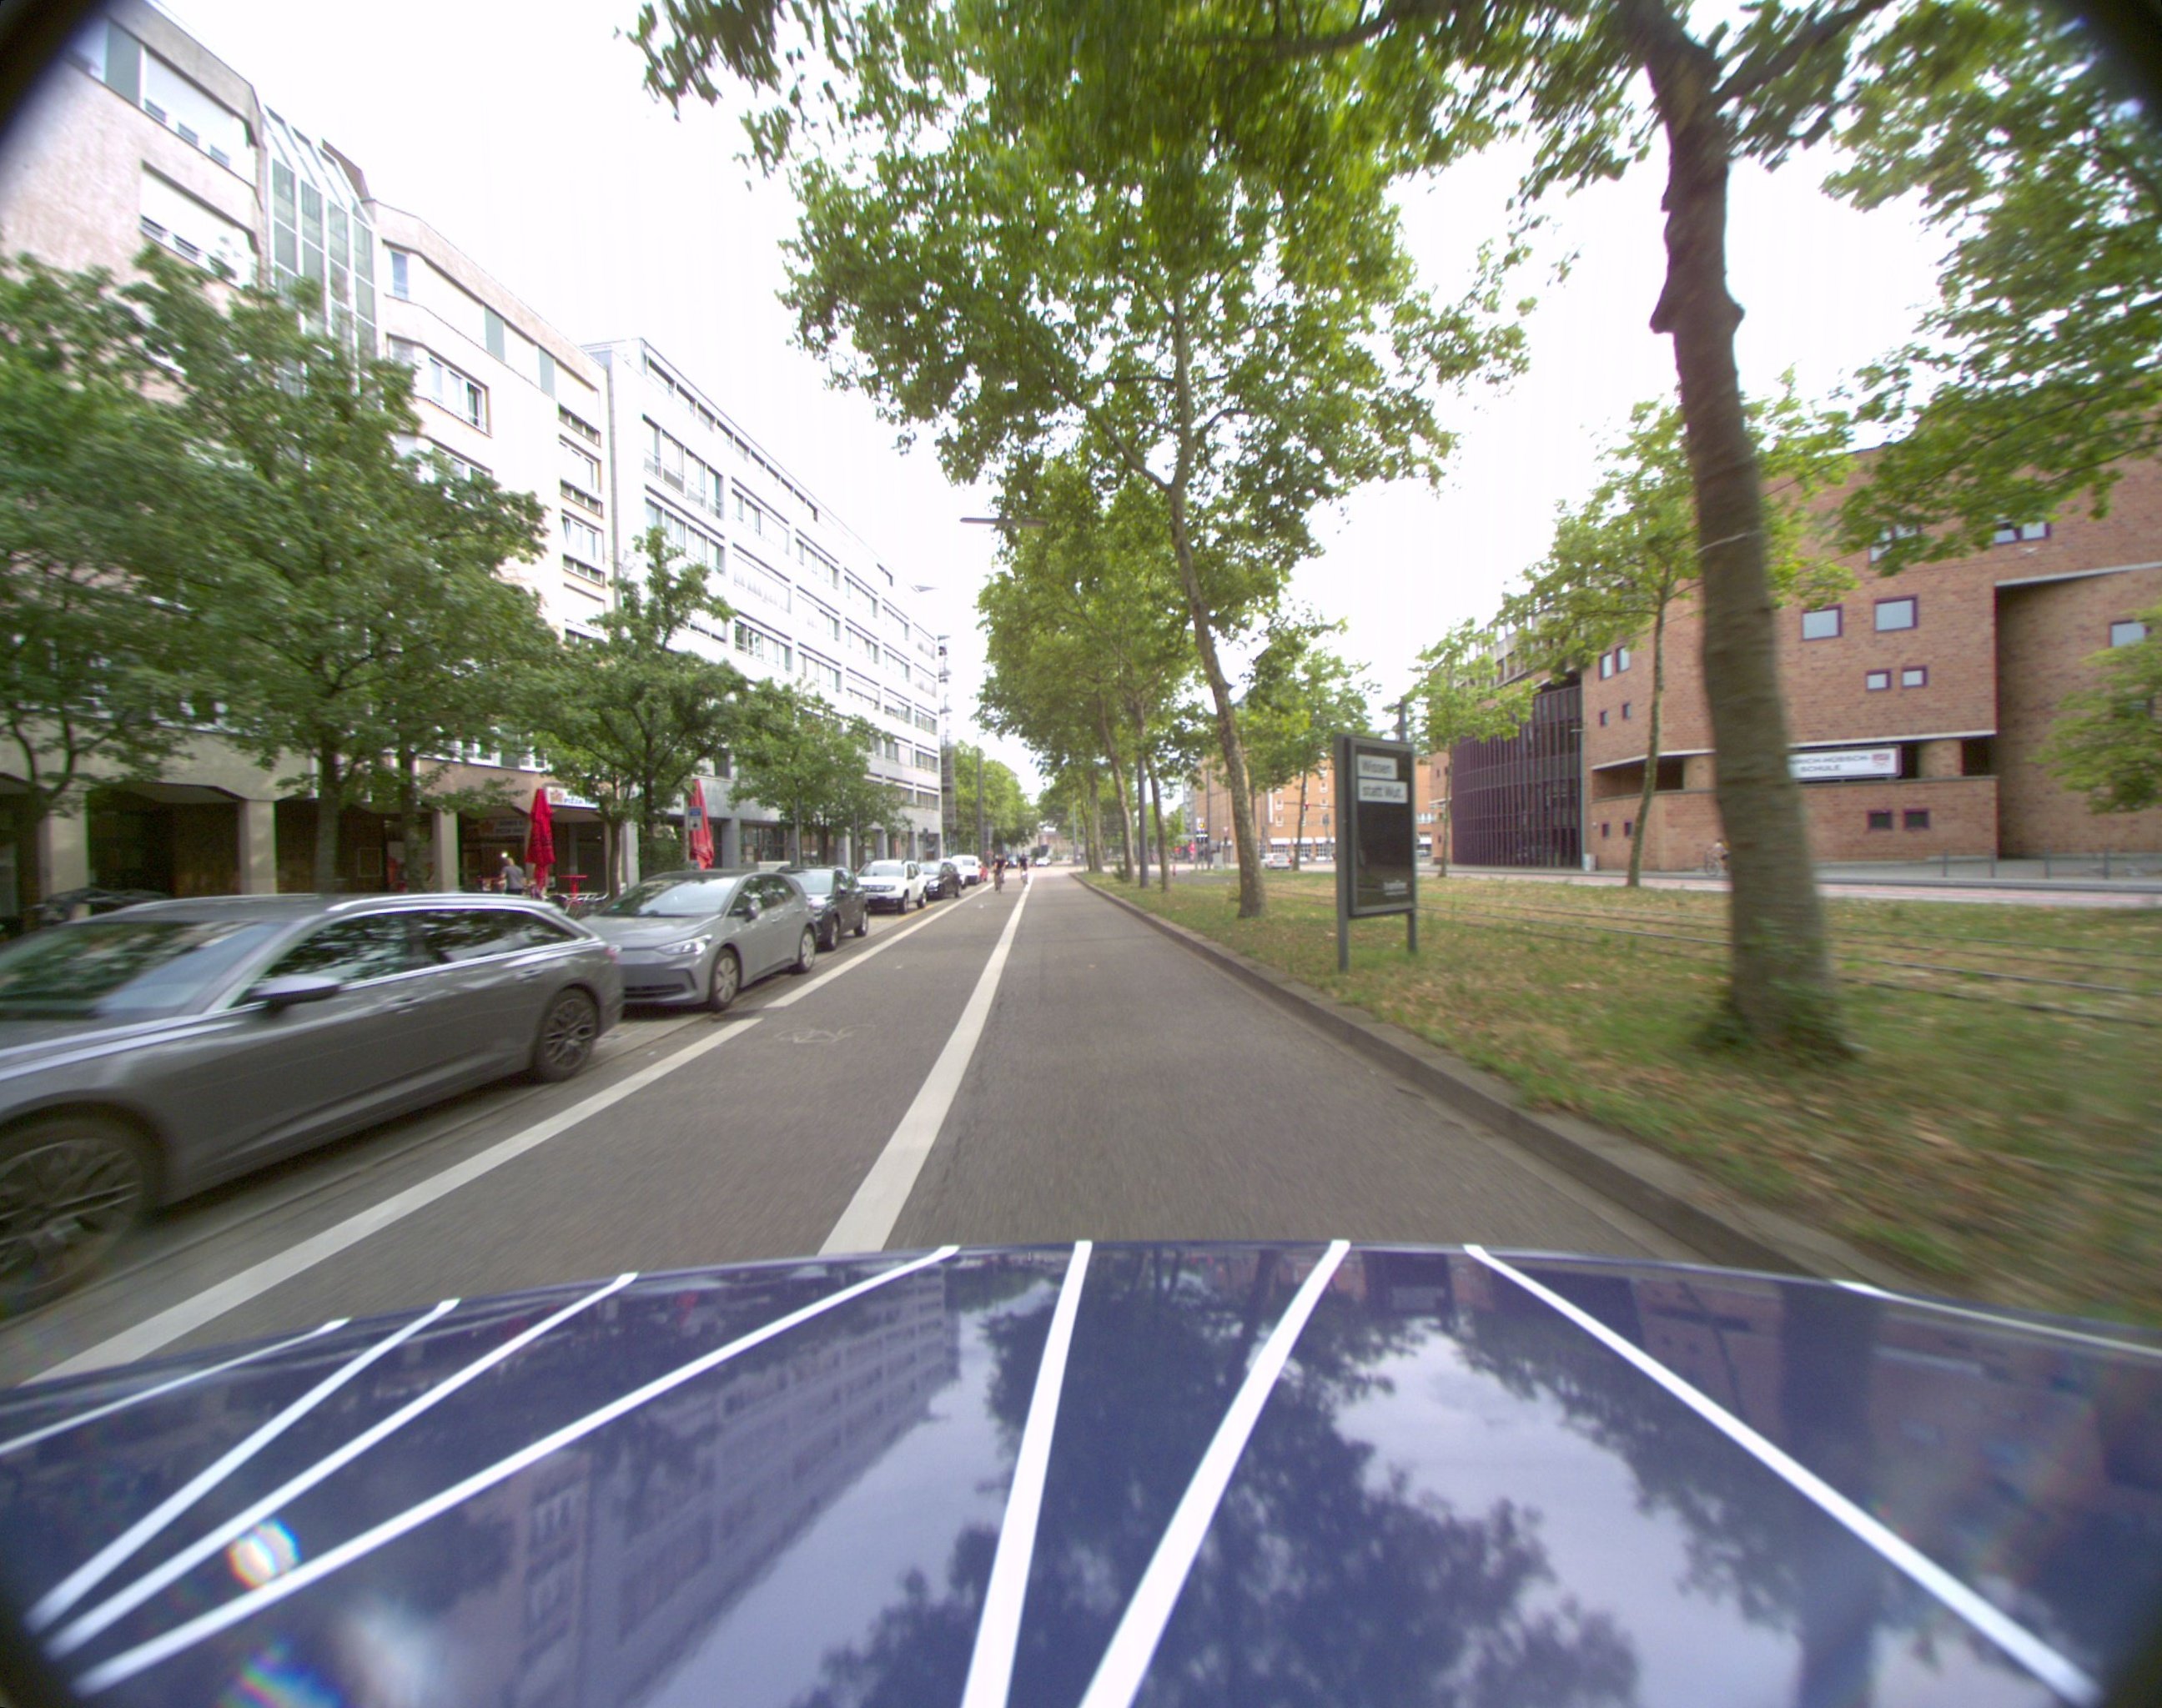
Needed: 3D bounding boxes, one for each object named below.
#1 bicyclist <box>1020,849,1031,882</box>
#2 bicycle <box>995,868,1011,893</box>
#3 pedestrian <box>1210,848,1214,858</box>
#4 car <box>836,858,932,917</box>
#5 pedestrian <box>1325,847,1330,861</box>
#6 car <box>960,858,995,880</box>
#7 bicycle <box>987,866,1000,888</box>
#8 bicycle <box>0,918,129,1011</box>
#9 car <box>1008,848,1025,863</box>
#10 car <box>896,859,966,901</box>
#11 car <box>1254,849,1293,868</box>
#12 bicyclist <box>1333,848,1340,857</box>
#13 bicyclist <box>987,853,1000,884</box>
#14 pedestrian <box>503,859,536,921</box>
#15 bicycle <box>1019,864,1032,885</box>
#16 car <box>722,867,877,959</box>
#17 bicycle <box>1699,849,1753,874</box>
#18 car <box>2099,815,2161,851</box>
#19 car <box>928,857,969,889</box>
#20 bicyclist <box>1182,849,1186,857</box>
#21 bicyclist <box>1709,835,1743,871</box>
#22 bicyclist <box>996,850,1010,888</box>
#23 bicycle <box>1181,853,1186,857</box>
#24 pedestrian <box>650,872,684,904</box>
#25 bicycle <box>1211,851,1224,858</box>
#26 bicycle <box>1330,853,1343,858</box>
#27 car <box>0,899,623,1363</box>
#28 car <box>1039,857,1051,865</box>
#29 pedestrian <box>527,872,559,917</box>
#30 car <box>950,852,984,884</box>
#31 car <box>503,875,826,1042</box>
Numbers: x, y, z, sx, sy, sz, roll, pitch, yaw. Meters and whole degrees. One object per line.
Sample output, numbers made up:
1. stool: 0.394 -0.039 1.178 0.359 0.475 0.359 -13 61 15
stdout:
1. bicyclist: -3.081 0.630 42.303 0.591 1.760 1.035 -1 0 -2
2. bicycle: -3.677 1.241 36.063 0.596 1.132 2.090 -1 0 -2
3. pedestrian: 21.711 -0.138 125.851 0.563 1.696 0.534 -1 1 -2
4. car: -6.014 0.970 23.667 1.866 1.643 4.163 0 0 0
5. pedestrian: 35.516 0.041 109.512 0.524 2.002 0.447 -1 1 12
6. car: -7.240 1.036 53.482 1.726 1.424 4.253 1 0 1
7. bicycle: -4.769 1.249 41.543 0.596 1.132 1.734 -1 0 -2
8. bicycle: -13.087 1.365 9.249 0.486 1.007 1.862 -2 0 6
9. car: -10.984 0.235 129.933 2.174 2.441 6.997 -2 0 1
10. car: -6.098 1.006 31.440 1.779 1.567 4.306 1 0 4
11. car: 15.776 0.354 62.515 1.789 1.413 4.656 -1 0 -4
12. bicyclist: 40.237 -0.248 119.509 0.865 1.493 0.636 -1 1 -5
13. bicyclist: -4.770 0.778 41.490 0.591 1.644 1.035 -1 0 -2
14. pedestrian: -14.430 0.921 19.538 0.516 1.560 0.481 -1 1 33
15. bicycle: -3.077 1.132 42.259 0.596 1.132 1.858 -1 0 -2
16. car: -5.332 1.037 14.976 1.720 1.510 4.202 0 0 -3
17. bicycle: 28.973 0.334 34.176 0.670 1.078 2.093 -2 0 0
18. car: 55.568 -1.101 38.887 1.896 1.797 4.003 -1 0 9
19. car: -7.247 1.009 41.884 2.001 1.593 4.580 1 0 -8
20. bicyclist: 21.826 -0.211 161.552 0.651 1.493 0.817 -1 1 -7
21. bicyclist: 28.973 -0.045 34.164 0.666 1.581 0.984 -1 0 0
22. bicyclist: -3.690 0.695 36.129 0.591 1.757 1.035 -1 0 -2
23. bicycle: 21.836 0.216 161.549 0.659 0.931 1.891 -1 1 -7
24. pedestrian: -15.517 1.273 28.493 0.822 1.150 0.699 -1 0 9
25. bicycle: 22.418 0.089 124.794 2.057 1.002 0.640 -1 1 7
26. bicycle: 40.203 0.191 119.514 1.796 0.777 0.639 -1 1 -5
27. car: -4.773 1.102 4.055 1.821 1.434 4.665 0 0 0
28. car: -6.476 1.247 136.708 1.845 1.369 3.834 -1 -1 2
29. pedestrian: -14.228 1.065 20.103 0.516 1.170 0.458 -1 1 26
30. car: -7.110 0.845 47.759 1.832 1.853 4.646 1 0 -5
31. car: -4.812 1.085 9.642 1.744 1.510 4.400 0 0 -1
